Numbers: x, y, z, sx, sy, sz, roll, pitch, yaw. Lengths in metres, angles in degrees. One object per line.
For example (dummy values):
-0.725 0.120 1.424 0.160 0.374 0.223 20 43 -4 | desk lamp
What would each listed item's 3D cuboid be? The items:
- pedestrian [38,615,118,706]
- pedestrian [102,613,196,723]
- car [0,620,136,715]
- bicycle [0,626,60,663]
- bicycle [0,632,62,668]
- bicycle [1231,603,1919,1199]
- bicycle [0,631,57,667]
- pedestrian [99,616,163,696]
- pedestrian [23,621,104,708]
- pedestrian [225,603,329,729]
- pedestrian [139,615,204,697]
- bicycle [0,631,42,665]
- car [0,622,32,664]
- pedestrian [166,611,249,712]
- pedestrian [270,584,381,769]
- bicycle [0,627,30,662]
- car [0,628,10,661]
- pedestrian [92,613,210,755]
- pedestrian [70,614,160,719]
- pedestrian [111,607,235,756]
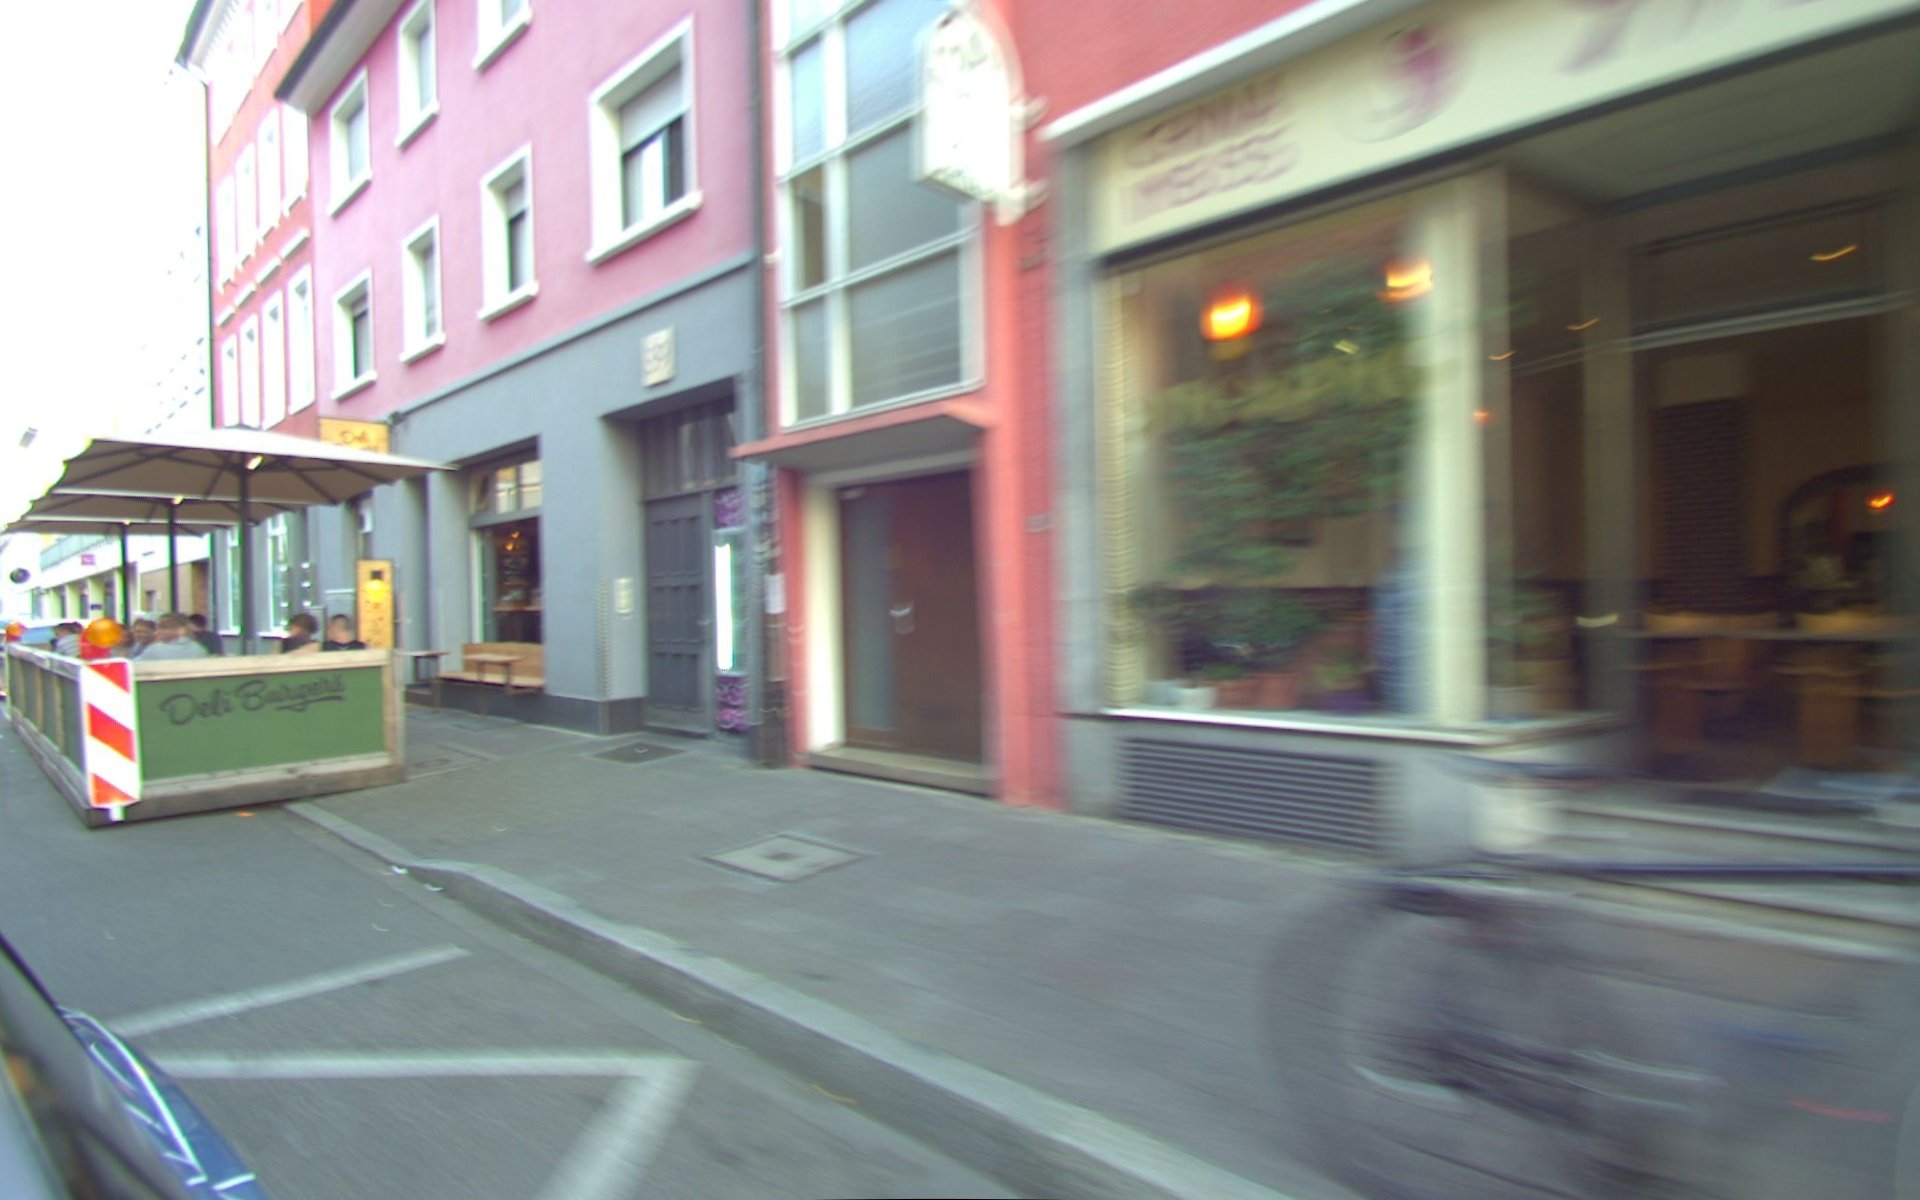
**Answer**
-10.995 0.736 12.623 0.559 1.075 0.626 -1 1 36 | pedestrian
-8.352 0.681 10.427 0.546 1.070 0.605 -1 1 36 | pedestrian
-16.403 1.145 18.301 4.134 1.471 1.699 -2 0 42 | car
-33.404 1.574 35.701 2.445 1.187 0.785 -2 1 -41 | bicycle
-34.540 1.850 37.044 2.445 1.187 0.785 -2 1 -41 | bicycle
1.459 0.616 1.767 1.842 1.201 0.538 -2 0 44 | bicycle
-34.084 1.772 36.327 2.445 1.187 0.785 -2 1 -41 | bicycle
-11.290 0.750 13.790 0.492 1.044 0.552 -1 1 36 | pedestrian
-11.600 0.818 13.095 0.546 1.070 0.665 -1 1 36 | pedestrian
-6.151 0.571 9.125 0.546 1.070 0.605 -1 1 36 | pedestrian
-10.538 0.731 13.531 0.492 1.044 0.552 -1 1 36 | pedestrian
-36.466 1.849 38.319 2.445 1.187 0.785 -2 1 -41 | bicycle
-40.927 1.843 42.983 4.460 1.689 1.971 -2 0 44 | car
-8.437 0.672 11.351 0.546 1.070 0.596 -1 1 36 | pedestrian
-5.366 0.617 8.569 0.546 1.483 0.605 -1 1 36 | pedestrian
-38.649 1.797 40.189 2.445 1.340 0.785 -2 1 -41 | bicycle
-45.243 2.084 46.602 4.460 1.482 1.971 -2 0 44 | car
-6.543 0.656 8.192 0.546 1.070 0.605 -1 1 36 | pedestrian
-9.082 0.696 10.883 0.546 1.070 0.605 -1 1 36 | pedestrian
-6.082 0.603 7.829 0.546 1.070 0.605 -1 1 36 | pedestrian
